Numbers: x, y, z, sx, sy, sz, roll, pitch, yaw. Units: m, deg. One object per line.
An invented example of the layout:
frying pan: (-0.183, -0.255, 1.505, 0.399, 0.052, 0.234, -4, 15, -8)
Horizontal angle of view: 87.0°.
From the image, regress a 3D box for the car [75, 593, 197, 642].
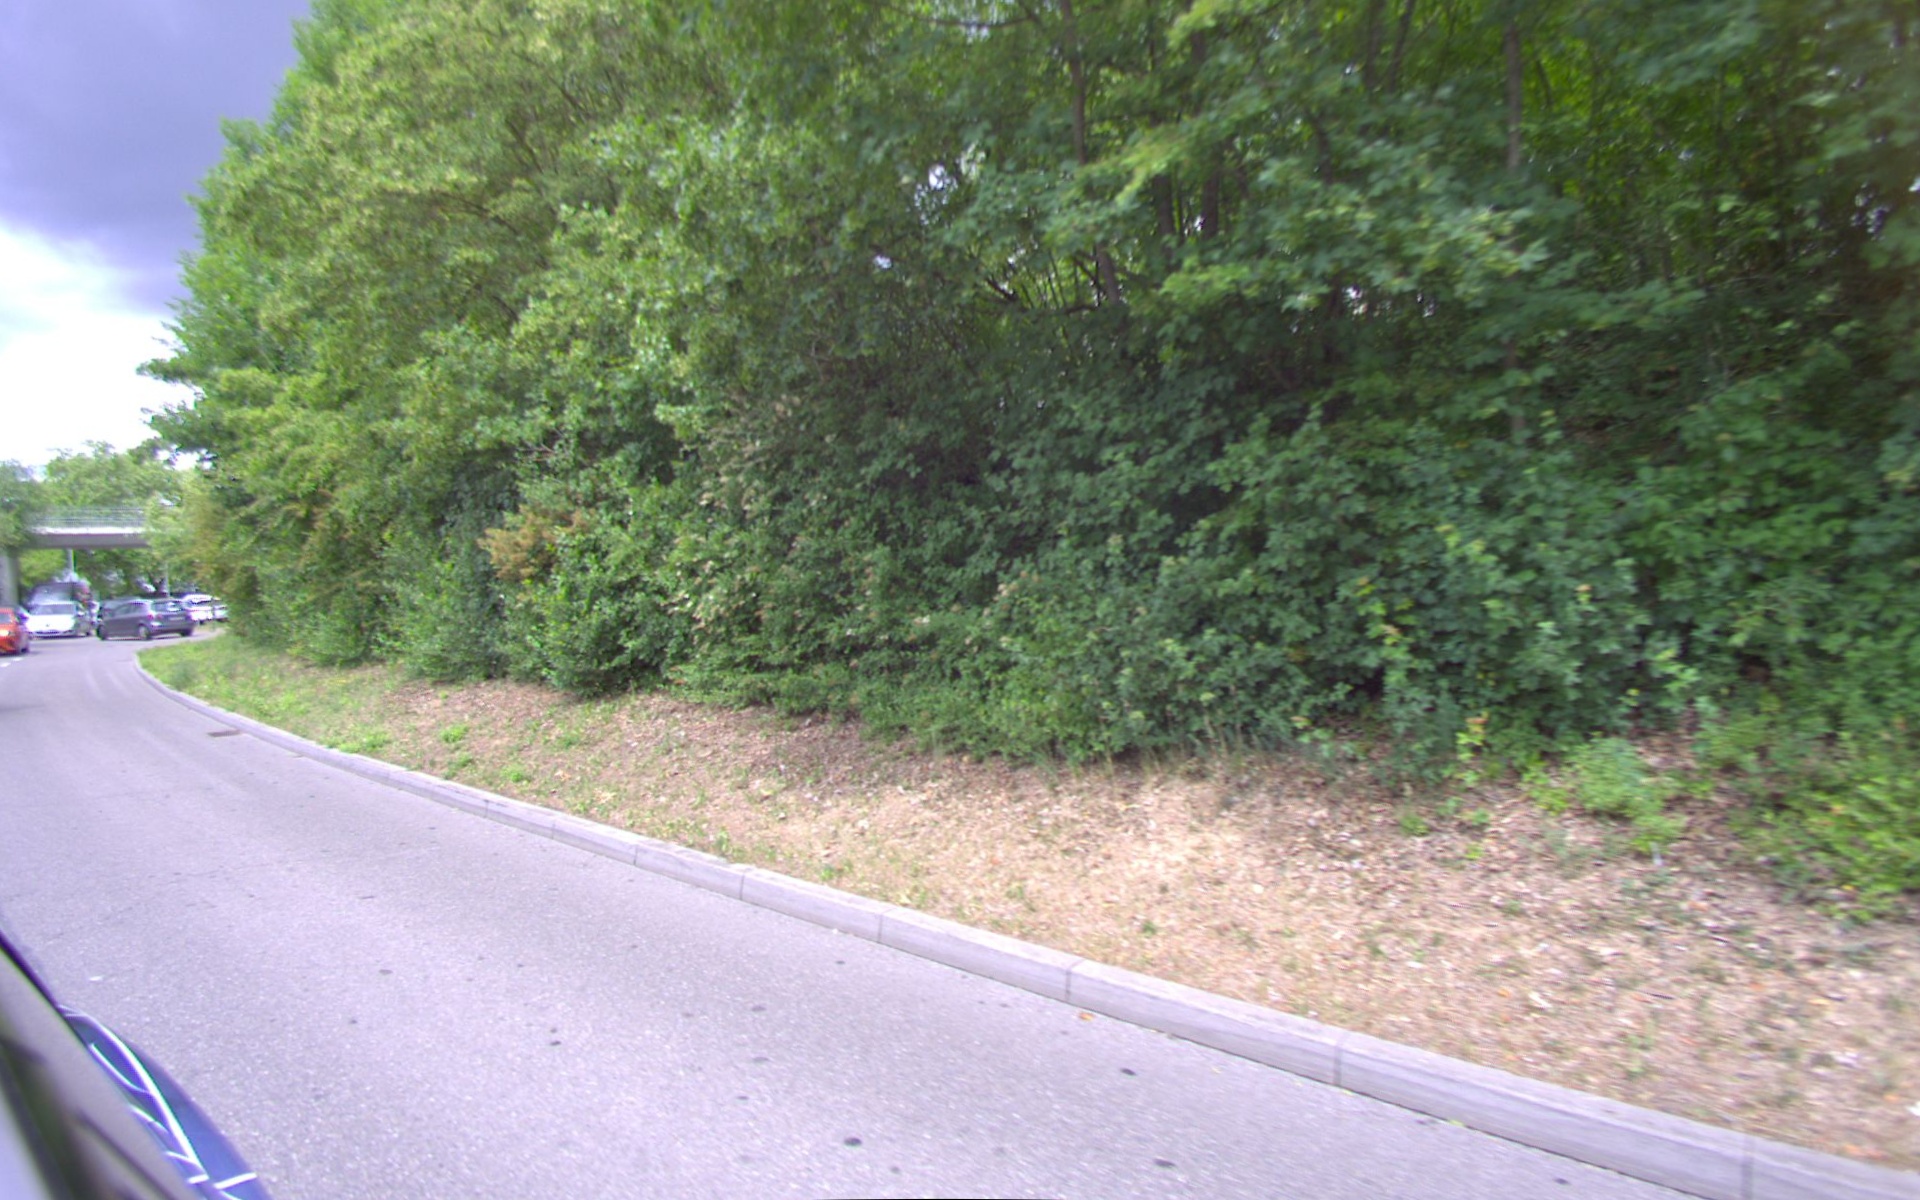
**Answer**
car: (-32.793, 0.737, 40.302, 4.082, 1.675, 1.749, -4, -4, 16)

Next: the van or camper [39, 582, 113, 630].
van or camper: (-49.446, 0.259, 56.720, 1.966, 2.514, 5.776, -2, 1, -30)

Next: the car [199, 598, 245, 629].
car: (-43.463, 0.760, 59.685, 1.784, 1.596, 3.997, -5, 2, -32)

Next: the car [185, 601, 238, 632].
car: (-38.609, 0.815, 52.283, 1.783, 1.415, 4.060, -2, 1, -31)

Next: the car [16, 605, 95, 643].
car: (-39.018, 0.981, 43.740, 1.751, 1.462, 4.012, -2, 1, -30)

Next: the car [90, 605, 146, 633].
car: (-46.481, 1.014, 55.917, 1.751, 1.431, 4.012, -2, 0, -31)

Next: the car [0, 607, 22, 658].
car: (-29.949, 0.996, 30.904, 1.835, 1.453, 4.004, -2, 2, -43)
